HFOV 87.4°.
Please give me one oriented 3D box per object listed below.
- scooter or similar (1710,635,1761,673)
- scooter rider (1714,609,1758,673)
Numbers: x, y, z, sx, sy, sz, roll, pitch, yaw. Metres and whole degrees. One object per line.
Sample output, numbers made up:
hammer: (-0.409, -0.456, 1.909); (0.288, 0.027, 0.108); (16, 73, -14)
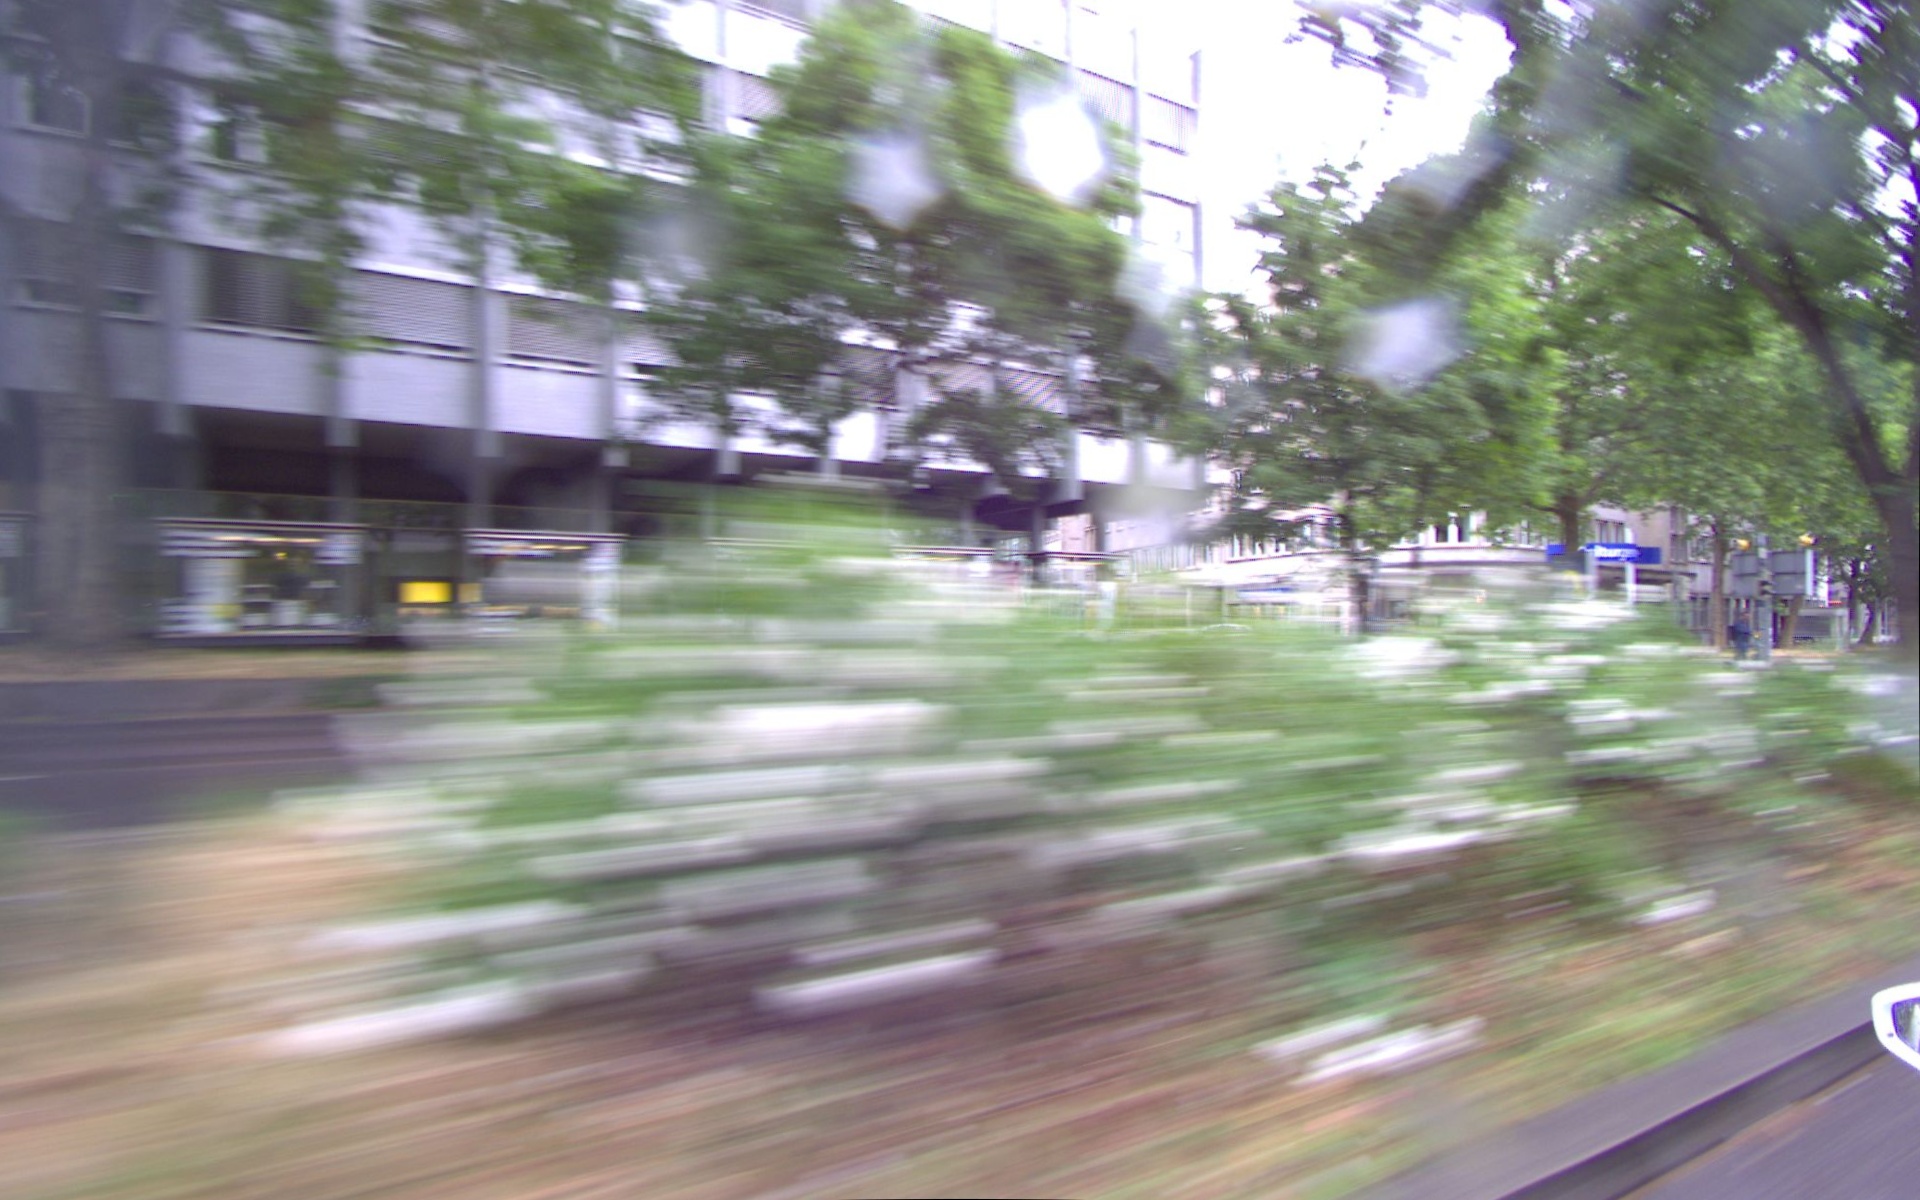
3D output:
scooter or similar: (24.177, 1.682, 31.335); (0.430, 1.128, 1.175); (1, 0, -33)
scooter rider: (24.236, 1.270, 31.363); (0.749, 1.966, 0.894); (1, 0, -34)
